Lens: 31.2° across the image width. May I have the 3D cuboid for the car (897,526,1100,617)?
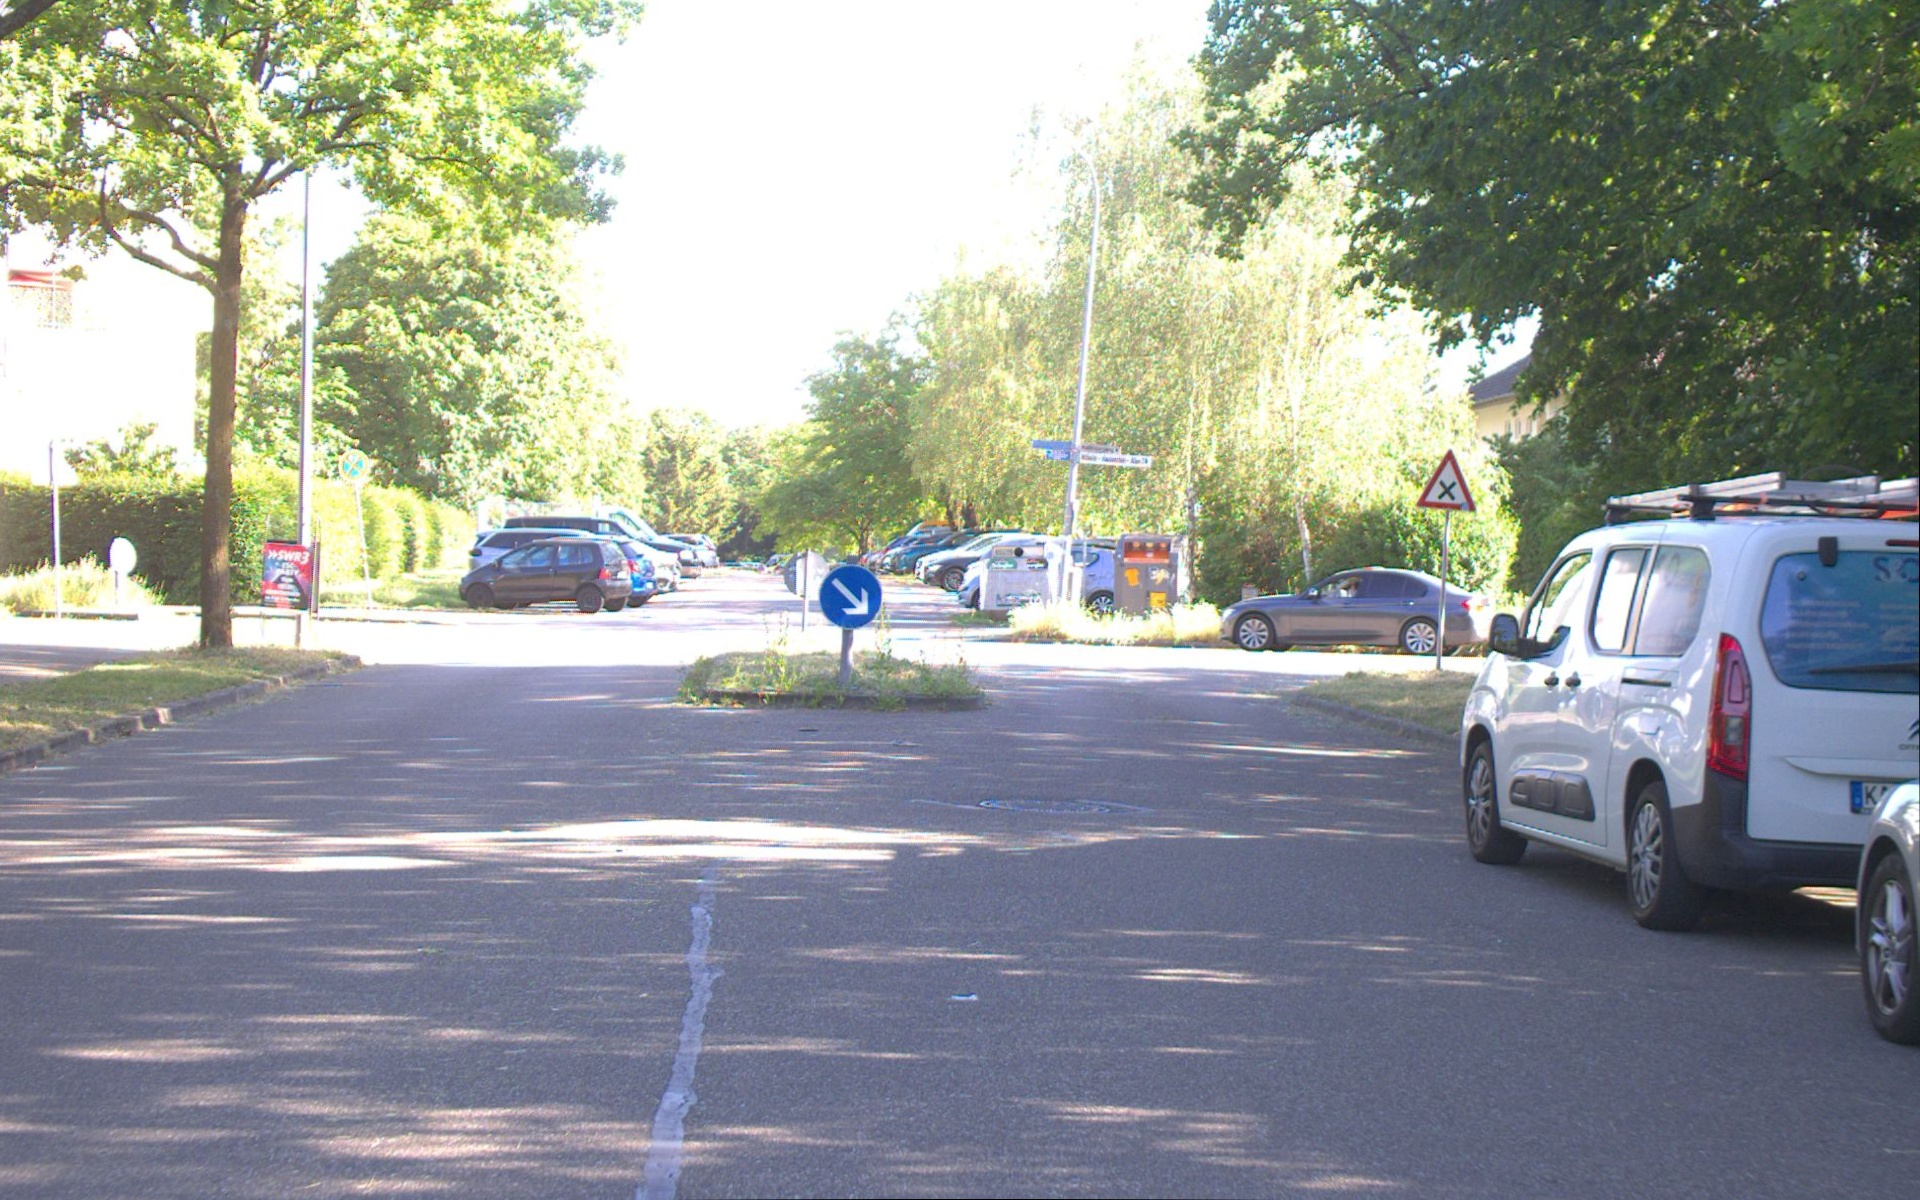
[{"bbox_3d":[0.783,-0.573,68.194,3.839,1.571,1.688,3,1,5],"label":"car"}]

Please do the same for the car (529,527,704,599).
[{"bbox_3d":[-8.566,-0.925,85.913,4.106,1.571,1.958,3,1,0],"label":"car"}]

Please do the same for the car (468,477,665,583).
[{"bbox_3d":[-10.851,-1.926,94.777,5.198,2.612,2.294,3,1,-7],"label":"car"}]

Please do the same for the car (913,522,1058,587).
[{"bbox_3d":[0.714,-1.250,93.941,3.839,1.571,1.688,3,1,3],"label":"car"}]

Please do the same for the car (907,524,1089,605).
[{"bbox_3d":[0.858,-0.792,76.004,3.839,1.571,1.688,3,1,5],"label":"car"}]

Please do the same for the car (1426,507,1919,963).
[{"bbox_3d":[3.623,0.513,16.035,1.790,1.779,4.558,3,1,-6],"label":"car"}]

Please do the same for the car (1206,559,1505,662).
[{"bbox_3d":[6.563,0.166,56.940,4.546,1.429,2.044,3,1,18],"label":"car"}]

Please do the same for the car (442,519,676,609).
[{"bbox_3d":[-8.094,-0.736,69.613,4.319,1.571,2.046,3,1,5],"label":"car"}]

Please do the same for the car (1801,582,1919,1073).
[{"bbox_3d":[3.890,0.773,9.897,1.691,1.507,4.207,3,1,-2],"label":"car"}]

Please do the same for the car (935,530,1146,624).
[{"bbox_3d":[1.552,-0.441,65.394,3.839,1.571,1.688,3,1,5],"label":"car"}]

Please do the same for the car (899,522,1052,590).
[{"bbox_3d":[0.424,-1.169,90.801,3.839,1.571,1.688,3,1,5],"label":"car"}]

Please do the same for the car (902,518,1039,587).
[{"bbox_3d":[0.316,-1.390,100.133,3.839,1.789,1.688,3,1,3],"label":"car"}]

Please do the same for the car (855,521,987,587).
[{"bbox_3d":[-1.176,-1.411,105.026,3.839,1.789,1.688,3,1,3],"label":"car"}]
